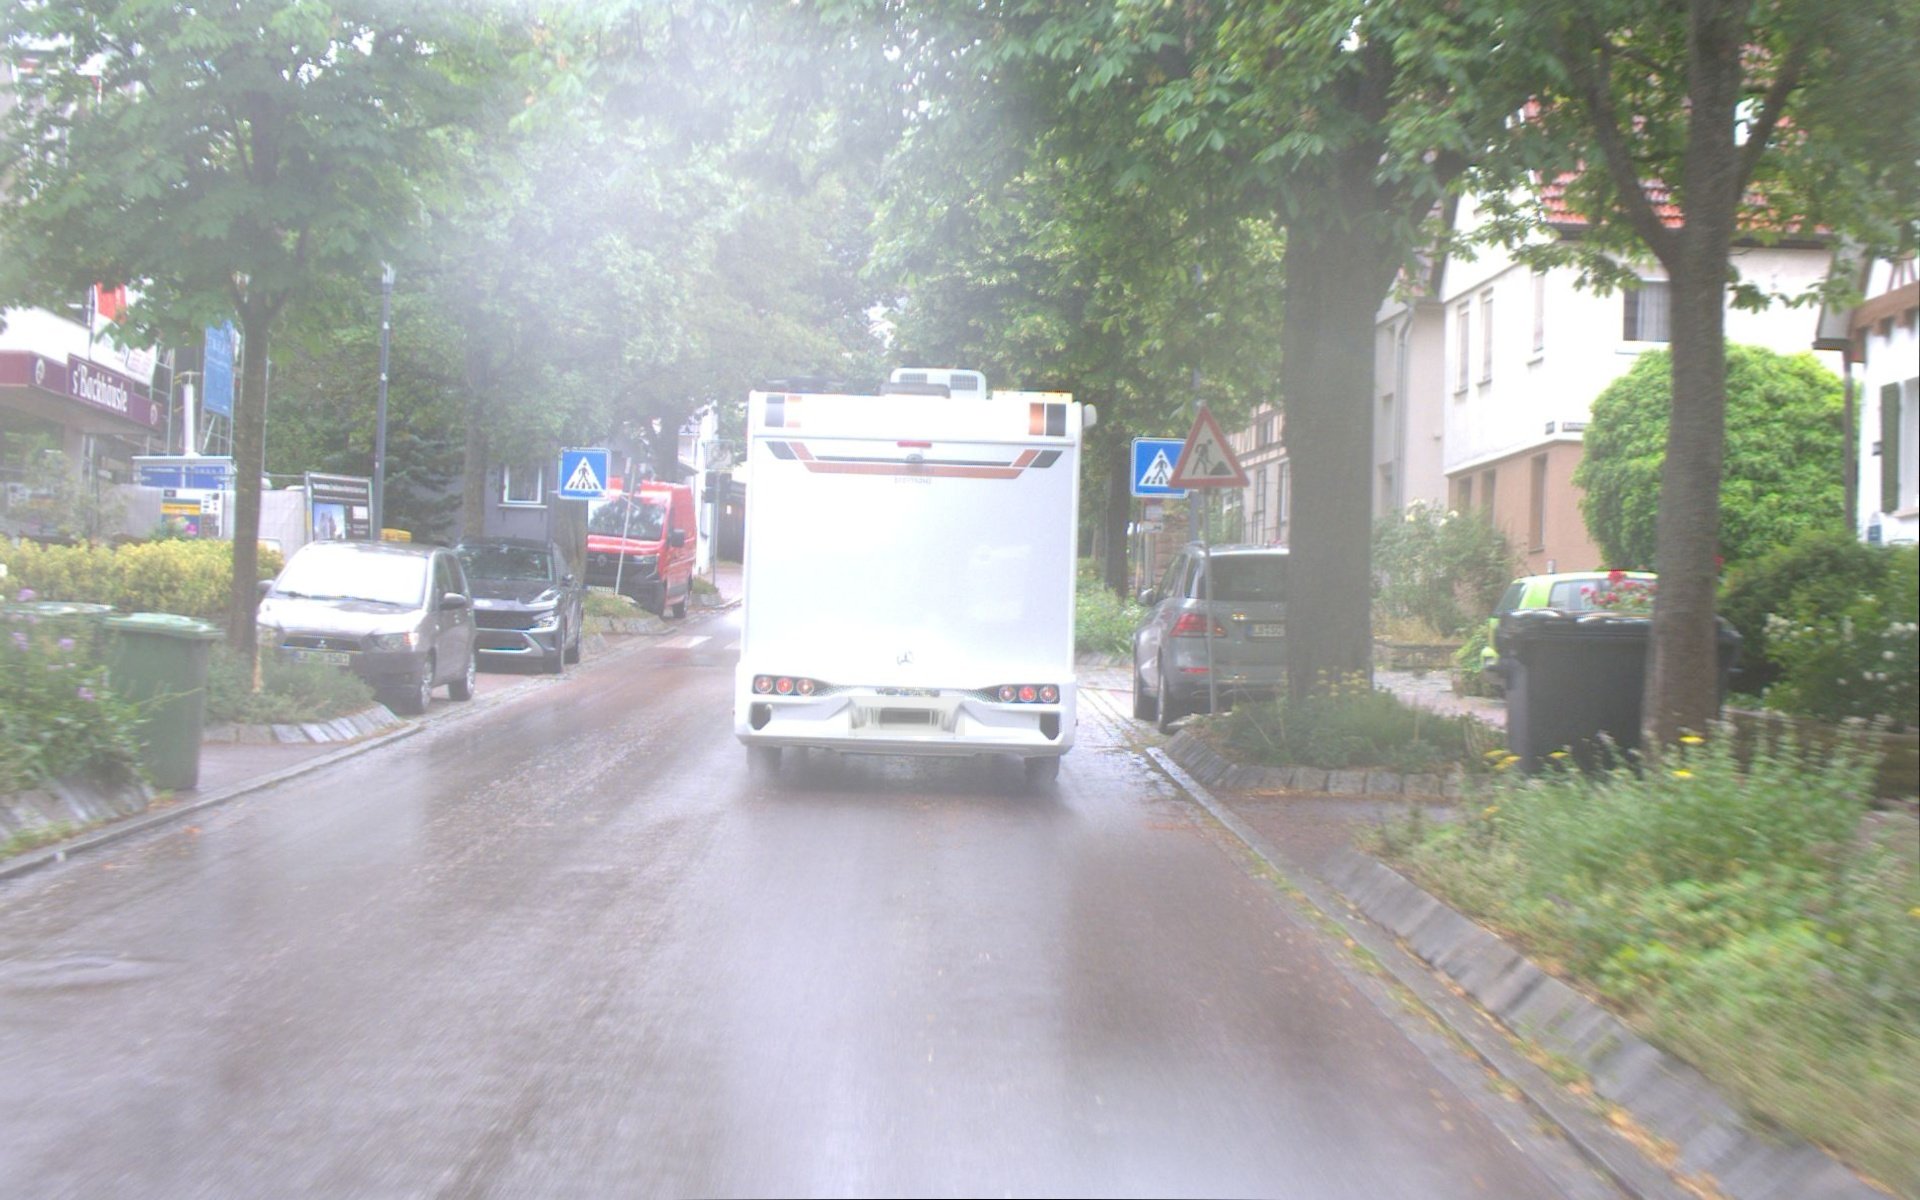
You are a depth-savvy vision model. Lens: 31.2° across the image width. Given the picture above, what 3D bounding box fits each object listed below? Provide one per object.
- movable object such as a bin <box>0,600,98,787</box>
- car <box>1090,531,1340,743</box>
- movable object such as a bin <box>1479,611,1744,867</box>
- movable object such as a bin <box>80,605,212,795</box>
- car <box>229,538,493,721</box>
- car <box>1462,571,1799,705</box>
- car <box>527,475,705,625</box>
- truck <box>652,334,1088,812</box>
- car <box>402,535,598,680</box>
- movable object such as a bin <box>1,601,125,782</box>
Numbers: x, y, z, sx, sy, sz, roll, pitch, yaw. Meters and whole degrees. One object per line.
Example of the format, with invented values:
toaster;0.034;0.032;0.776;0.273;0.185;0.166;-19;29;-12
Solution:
movable object such as a bin;-5.692;0.569;21.137;0.610;1.107;0.564;2;1;1
car;2.328;0.292;32.465;1.914;1.786;4.489;2;1;-1
movable object such as a bin;3.521;0.736;18.707;1.225;1.311;1.134;1;0;2
movable object such as a bin;-4.931;0.602;20.855;0.643;1.107;0.536;2;1;1
car;-5.568;0.228;32.392;1.647;1.528;3.865;3;1;1
car;7.418;0.408;38.215;3.364;1.425;1.631;0;1;-3
car;-6.100;-0.940;61.740;2.303;2.474;5.784;2;2;2
truck;-0.605;-0.201;25.330;2.694;2.975;6.237;2;0;0
car;-5.514;0.049;41.600;1.771;1.548;4.000;4;1;-1
movable object such as a bin;-5.684;0.574;21.806;0.610;1.107;0.564;2;1;1
